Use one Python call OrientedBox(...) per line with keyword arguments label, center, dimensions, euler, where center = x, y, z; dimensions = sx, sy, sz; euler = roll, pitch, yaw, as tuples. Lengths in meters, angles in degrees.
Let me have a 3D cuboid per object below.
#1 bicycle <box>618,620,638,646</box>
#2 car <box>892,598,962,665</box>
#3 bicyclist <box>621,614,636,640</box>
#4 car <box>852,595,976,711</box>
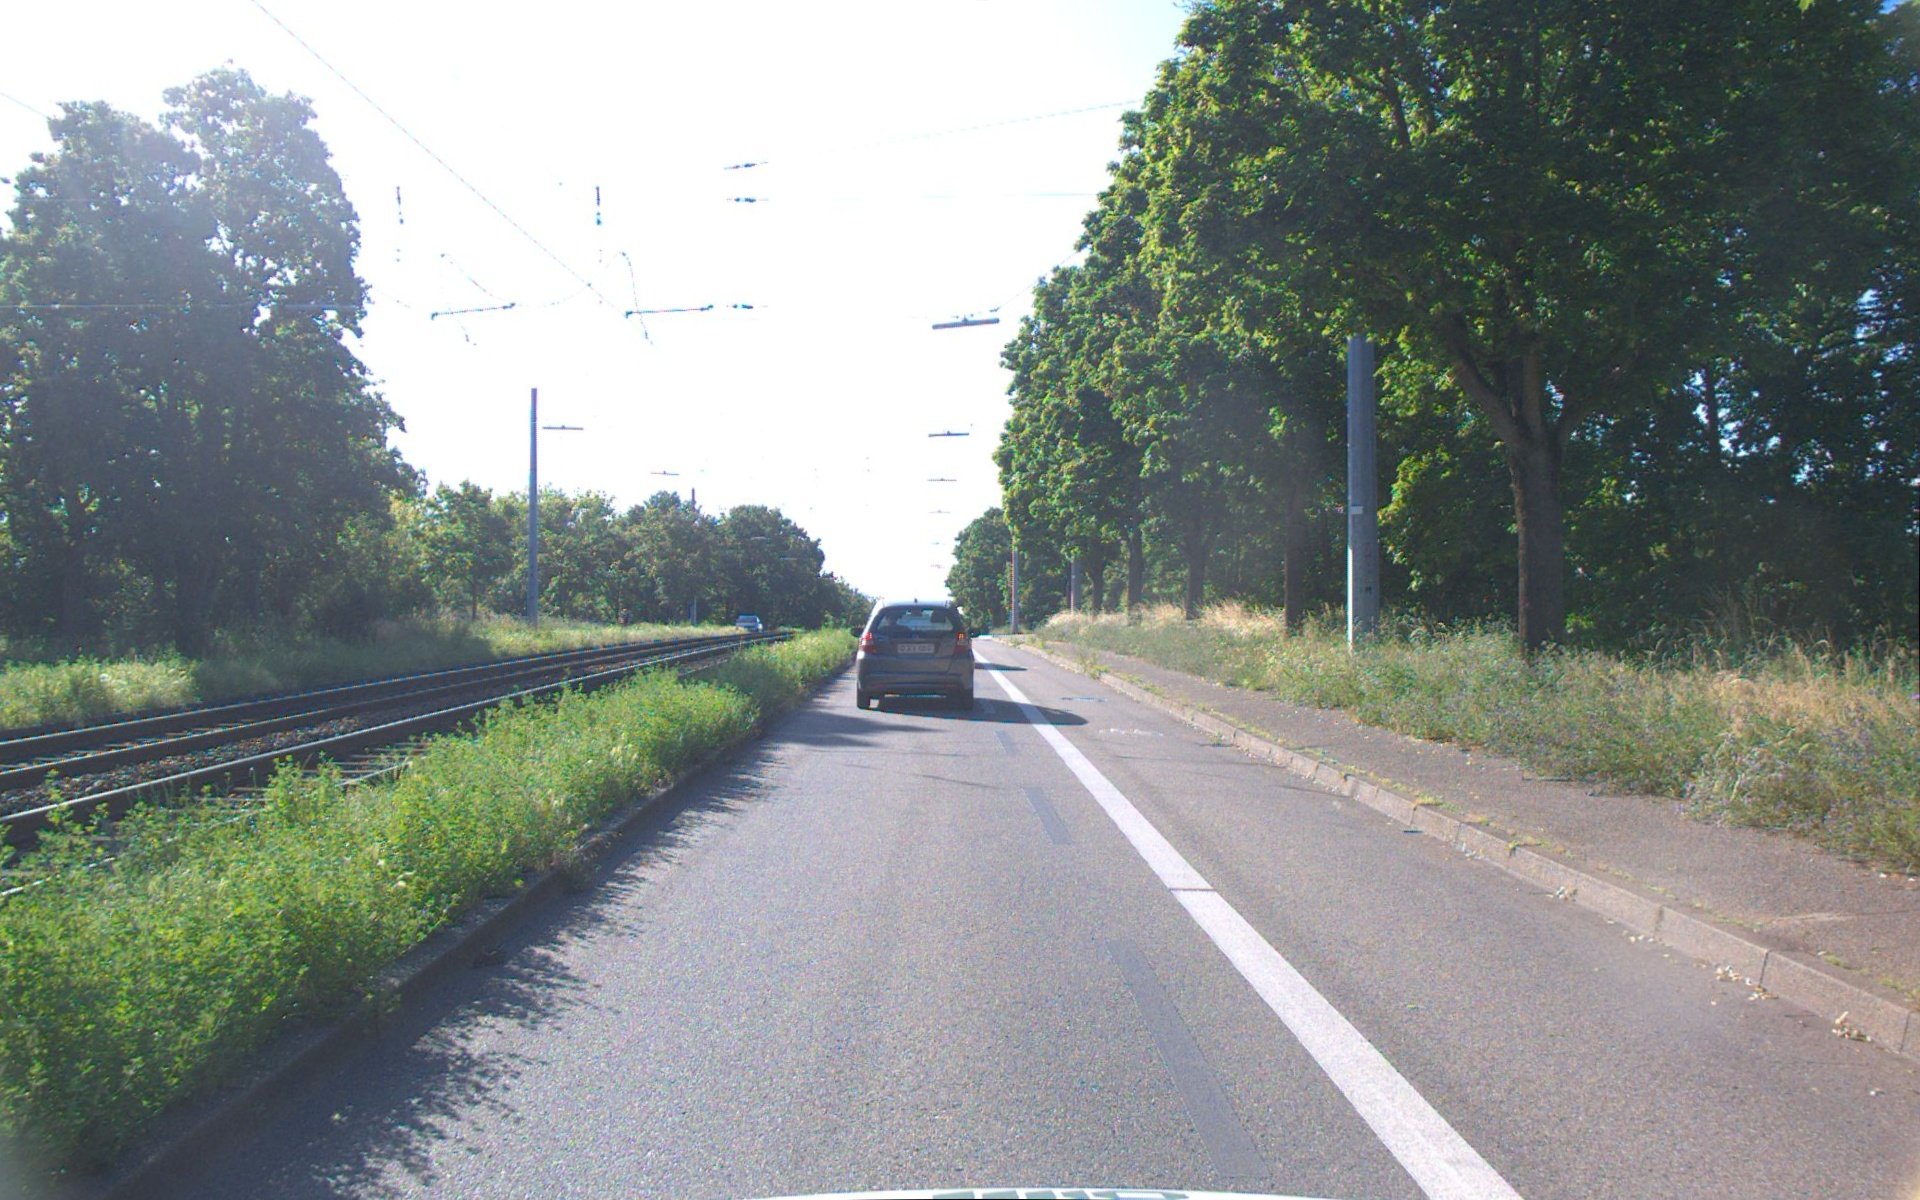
OrientedBox(label="bicycle", center=(-17.377, 1.701, 86.554), dimensions=(0.578, 1.283, 2.427), euler=(1, 0, -1))
OrientedBox(label="car", center=(-0.787, 0.742, 40.932), dimensions=(1.621, 1.534, 3.810), euler=(1, 0, -1))
OrientedBox(label="bicyclist", center=(-17.373, 1.409, 86.628), dimensions=(0.570, 1.333, 0.987), euler=(1, 0, -1))
OrientedBox(label="car", center=(-0.661, 0.719, 24.200), dimensions=(1.636, 1.534, 3.810), euler=(1, 0, -1))
